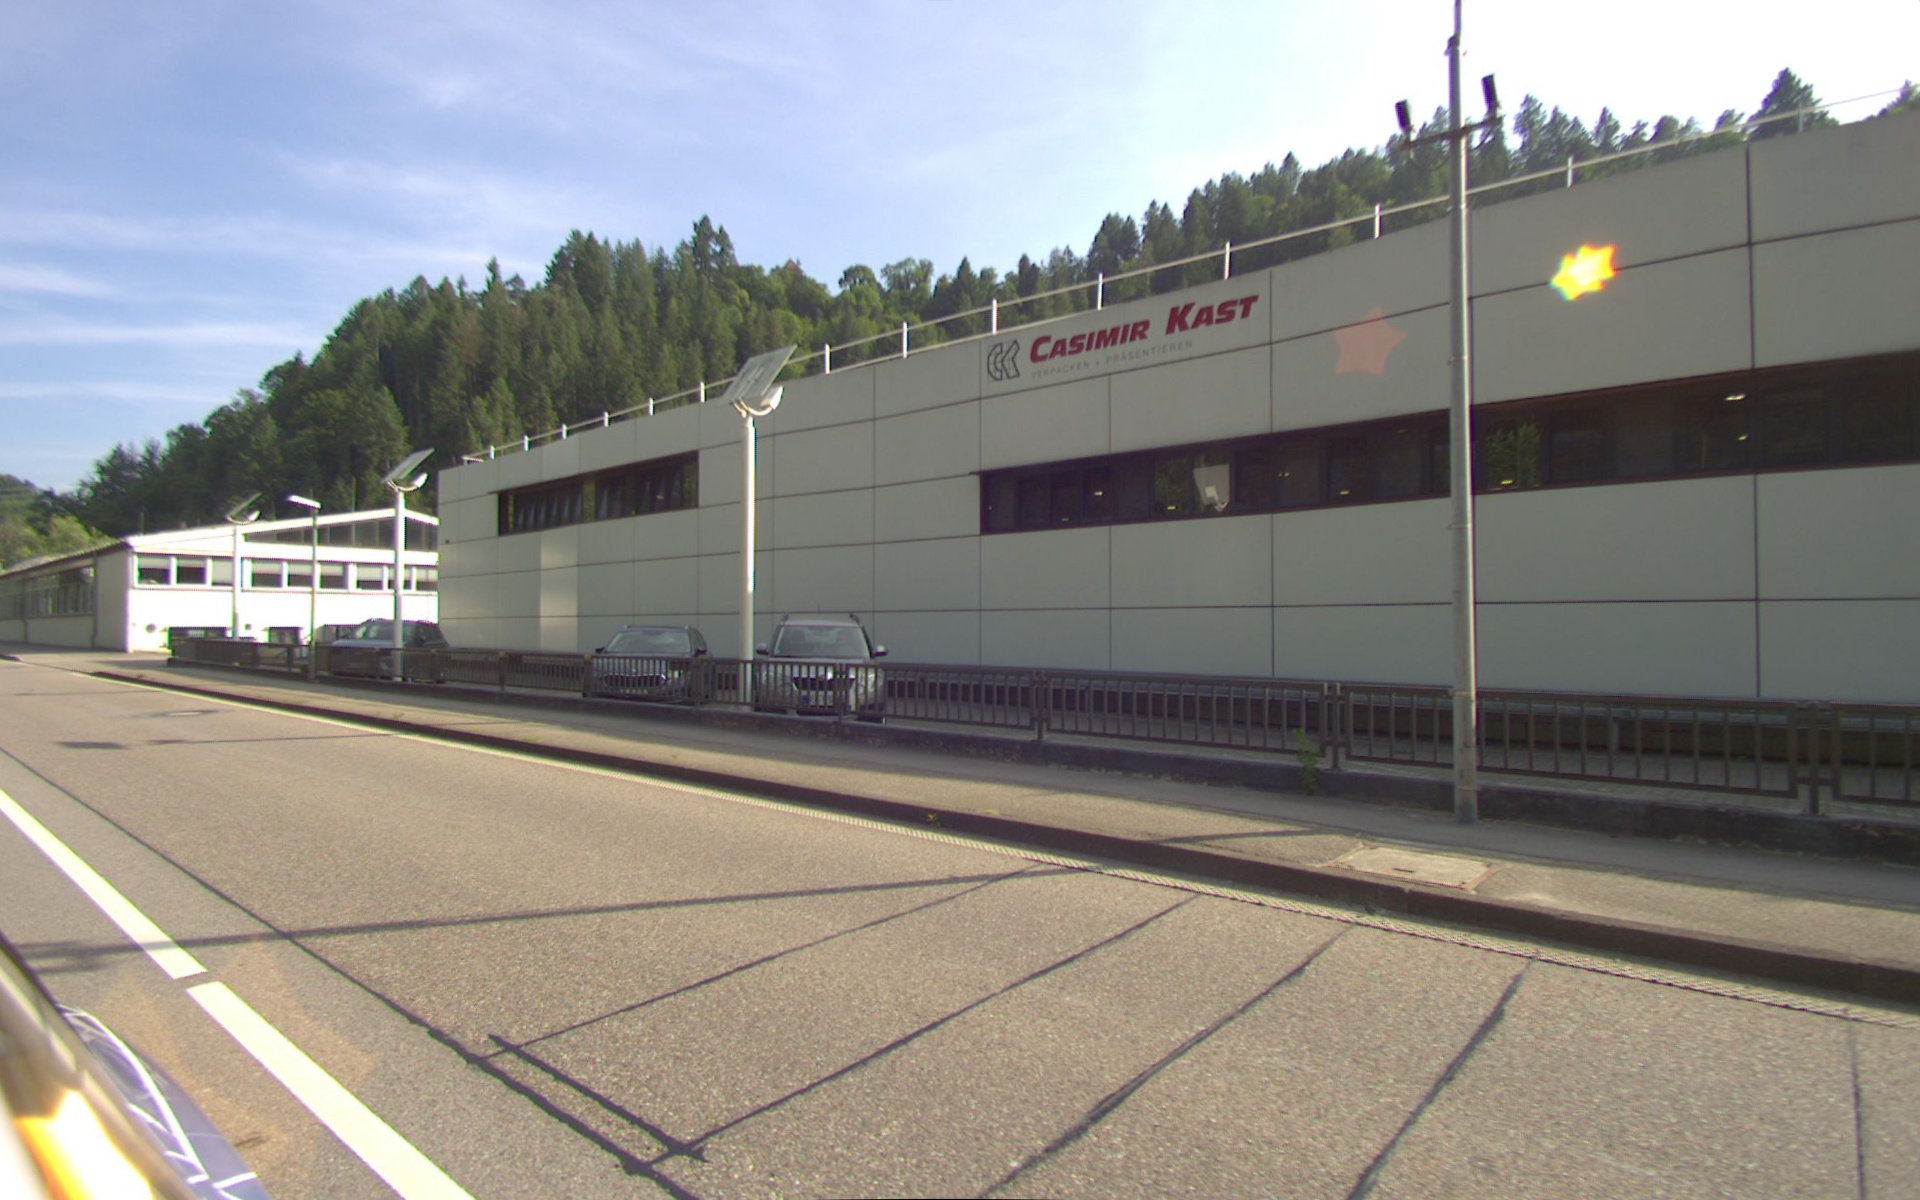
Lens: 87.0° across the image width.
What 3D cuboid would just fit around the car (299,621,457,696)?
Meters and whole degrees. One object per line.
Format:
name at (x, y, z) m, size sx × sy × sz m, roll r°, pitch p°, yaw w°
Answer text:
car at (-13.811, 1.328, 24.315) m, size 1.859 × 1.604 × 4.182 m, roll 0°, pitch -1°, yaw -8°

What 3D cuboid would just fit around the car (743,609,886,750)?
car at (-2.082, 1.008, 14.655) m, size 1.753 × 1.721 × 4.117 m, roll 0°, pitch -1°, yaw -8°

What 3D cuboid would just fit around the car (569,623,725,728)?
car at (-5.196, 1.179, 17.406) m, size 1.859 × 1.506 × 4.496 m, roll 0°, pitch -1°, yaw -8°
